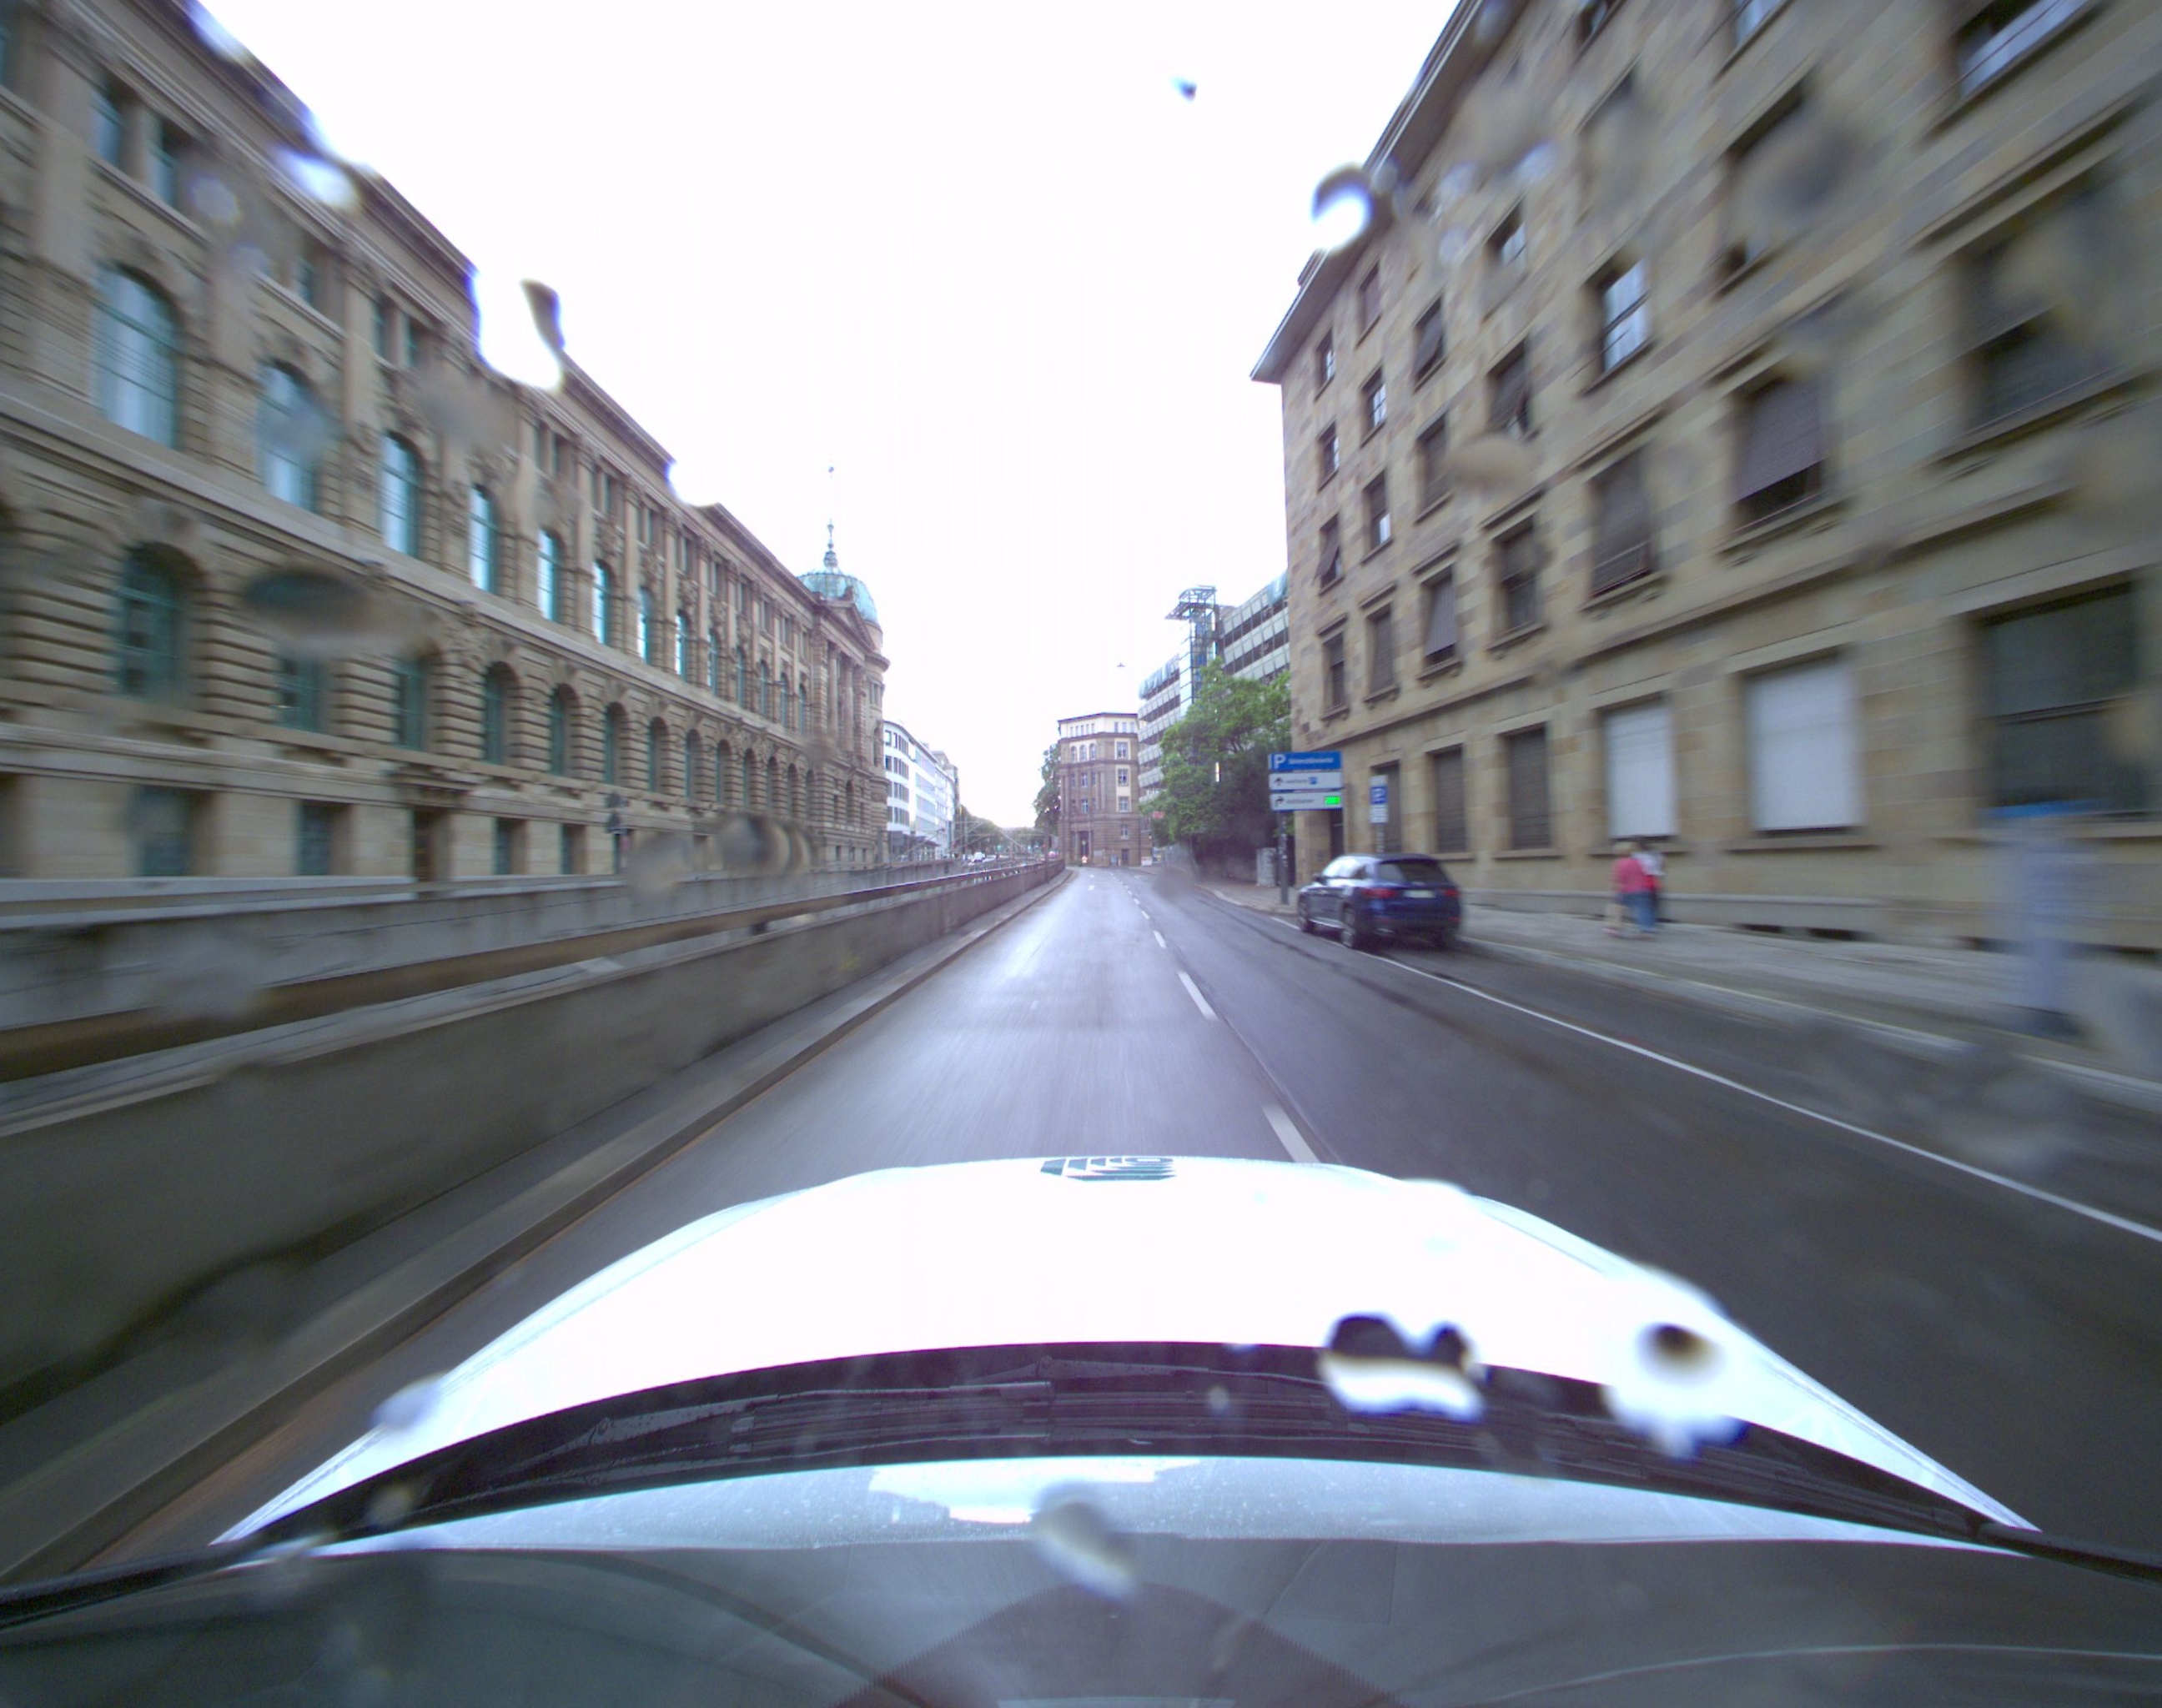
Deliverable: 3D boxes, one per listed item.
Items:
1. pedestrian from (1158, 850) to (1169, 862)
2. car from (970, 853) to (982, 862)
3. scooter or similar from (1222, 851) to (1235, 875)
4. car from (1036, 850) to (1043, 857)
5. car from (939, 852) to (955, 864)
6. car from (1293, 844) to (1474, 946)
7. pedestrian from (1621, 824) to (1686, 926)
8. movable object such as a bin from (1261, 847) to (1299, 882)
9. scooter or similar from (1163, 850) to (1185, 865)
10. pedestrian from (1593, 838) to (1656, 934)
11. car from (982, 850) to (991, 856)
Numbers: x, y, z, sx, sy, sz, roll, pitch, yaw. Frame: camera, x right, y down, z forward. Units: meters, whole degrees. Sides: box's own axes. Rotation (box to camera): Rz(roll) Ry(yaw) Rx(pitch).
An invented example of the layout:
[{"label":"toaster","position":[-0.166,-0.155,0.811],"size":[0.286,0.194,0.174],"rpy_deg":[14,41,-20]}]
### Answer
[{"label":"pedestrian","position":[8.157,0.217,80.278],"size":[0.754,1.123,1.241],"rpy_deg":[-1,0,-13]},{"label":"car","position":[-19.575,0.647,151.448],"size":[1.990,1.527,3.657],"rpy_deg":[-1,0,-4]},{"label":"scooter or similar","position":[7.885,0.481,43.619],"size":[0.445,1.259,1.211],"rpy_deg":[-3,0,1]},{"label":"car","position":[-11.184,-0.112,219.146],"size":[1.990,1.662,3.994],"rpy_deg":[-1,0,-4]},{"label":"car","position":[-21.966,0.703,133.656],"size":[1.990,1.883,4.919],"rpy_deg":[-1,0,-4]},{"label":"car","position":[5.457,0.678,15.292],"size":[1.763,1.619,4.155],"rpy_deg":[-1,-1,-1]},{"label":"pedestrian","position":[9.344,0.331,13.304],"size":[0.523,1.602,0.673],"rpy_deg":[-1,-1,-4]},{"label":"movable object such as a bin","position":[8.042,0.419,32.975],"size":[1.234,1.310,1.234],"rpy_deg":[-4,0,2]},{"label":"scooter or similar","position":[7.938,0.301,69.668],"size":[1.643,1.267,0.737],"rpy_deg":[-3,1,-24]},{"label":"pedestrian","position":[8.766,0.506,13.151],"size":[0.523,1.492,0.673],"rpy_deg":[-1,-1,-4]},{"label":"car","position":[-22.857,-0.226,197.082],"size":[1.990,1.456,4.304],"rpy_deg":[-1,0,-4]}]
